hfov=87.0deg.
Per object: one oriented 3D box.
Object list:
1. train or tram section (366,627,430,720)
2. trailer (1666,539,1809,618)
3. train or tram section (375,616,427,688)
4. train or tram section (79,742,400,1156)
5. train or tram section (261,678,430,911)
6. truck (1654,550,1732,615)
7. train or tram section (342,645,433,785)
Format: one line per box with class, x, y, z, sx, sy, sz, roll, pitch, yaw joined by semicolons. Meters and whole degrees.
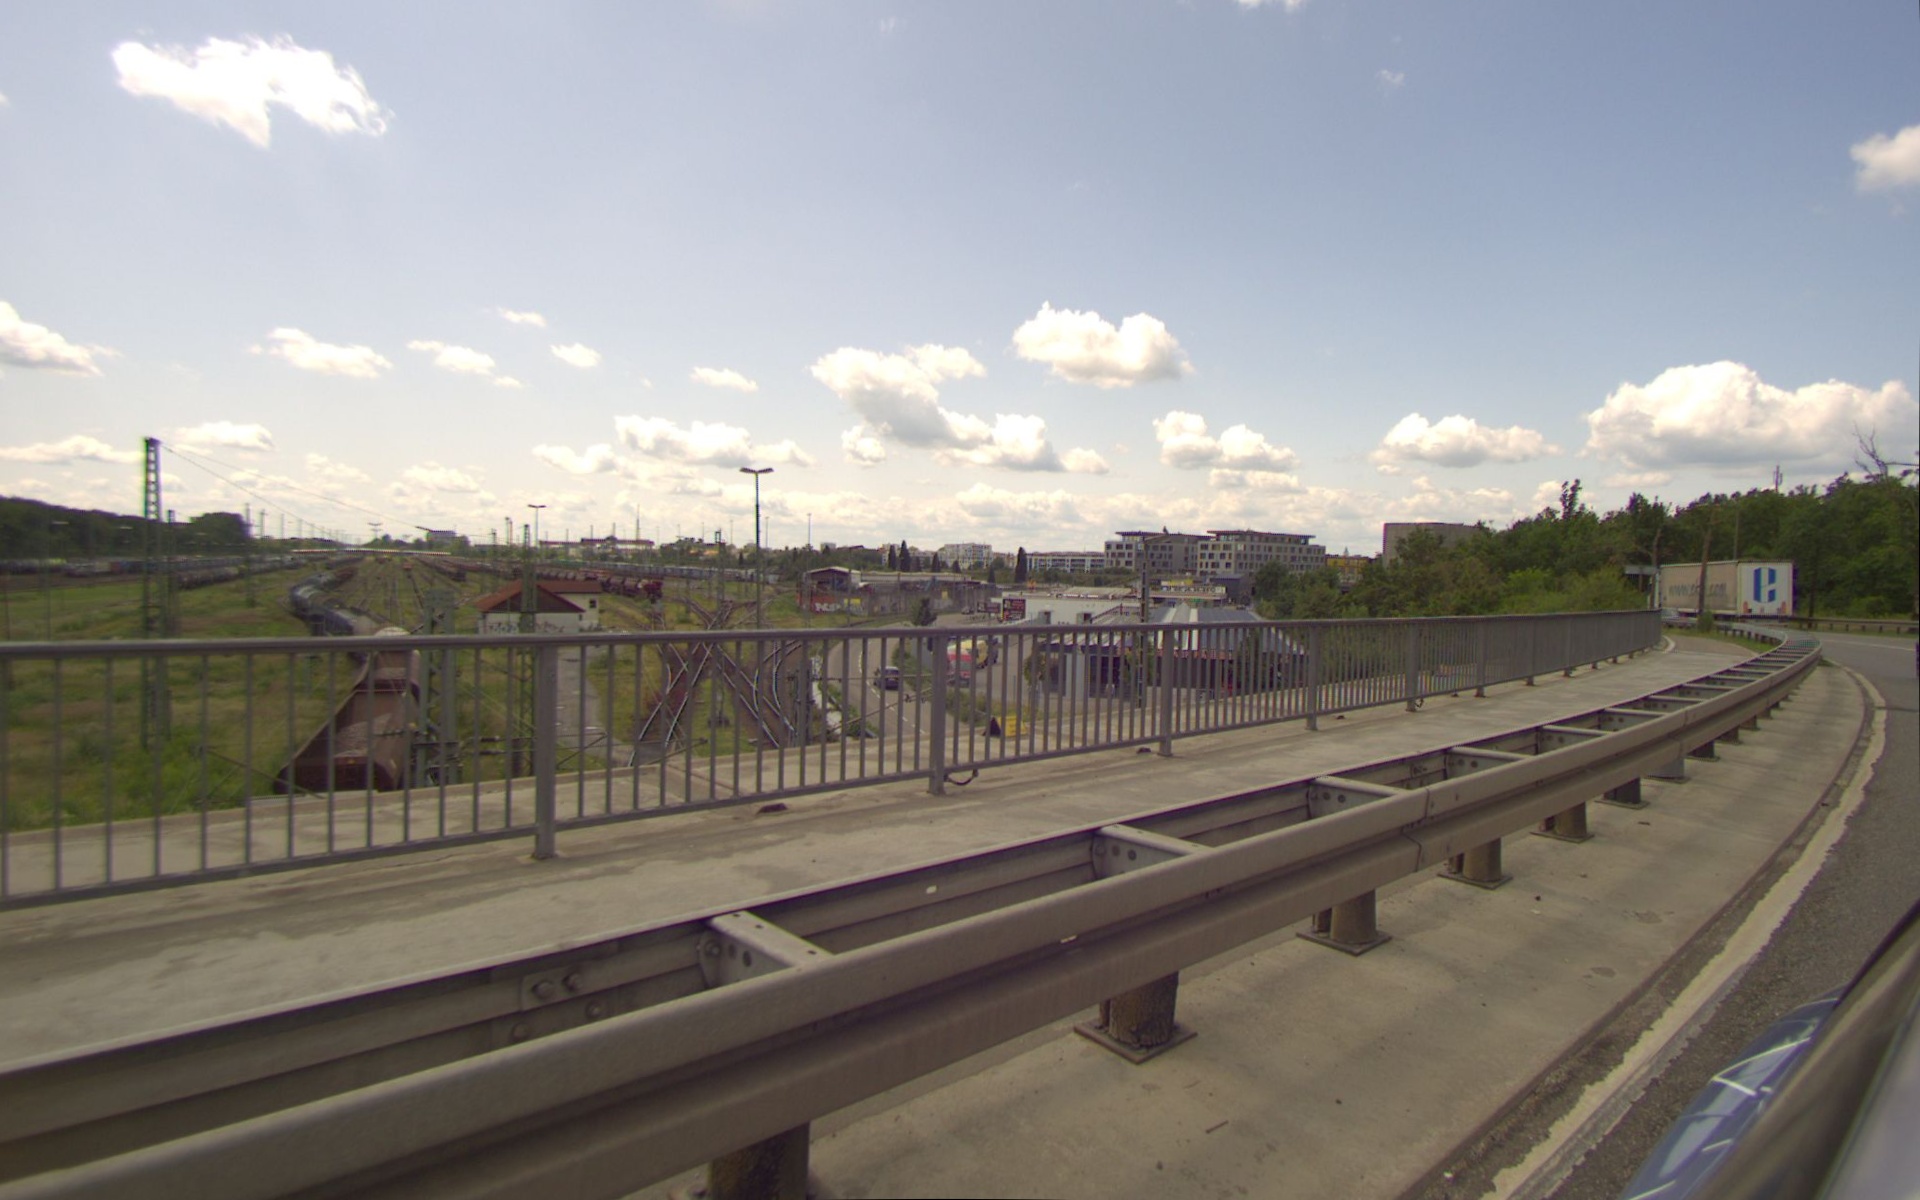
train or tram section;-37.117;4.525;67.065;3.154;4.202;16.991;-3;4;-28
trailer;47.704;-1.197;62.748;2.681;4.334;14.140;0;0;19
train or tram section;-45.550;3.930;82.228;3.149;4.202;17.720;-3;4;-30
train or tram section;-14.739;6.384;22.107;3.065;4.202;12.094;-3;3;-23
train or tram section;-20.692;5.844;35.215;3.077;4.202;16.642;-3;3;-25
truck;49.914;-1.150;69.119;2.735;4.187;5.618;0;0;19
train or tram section;-28.624;5.182;51.199;3.156;4.202;18.930;-3;4;-28
